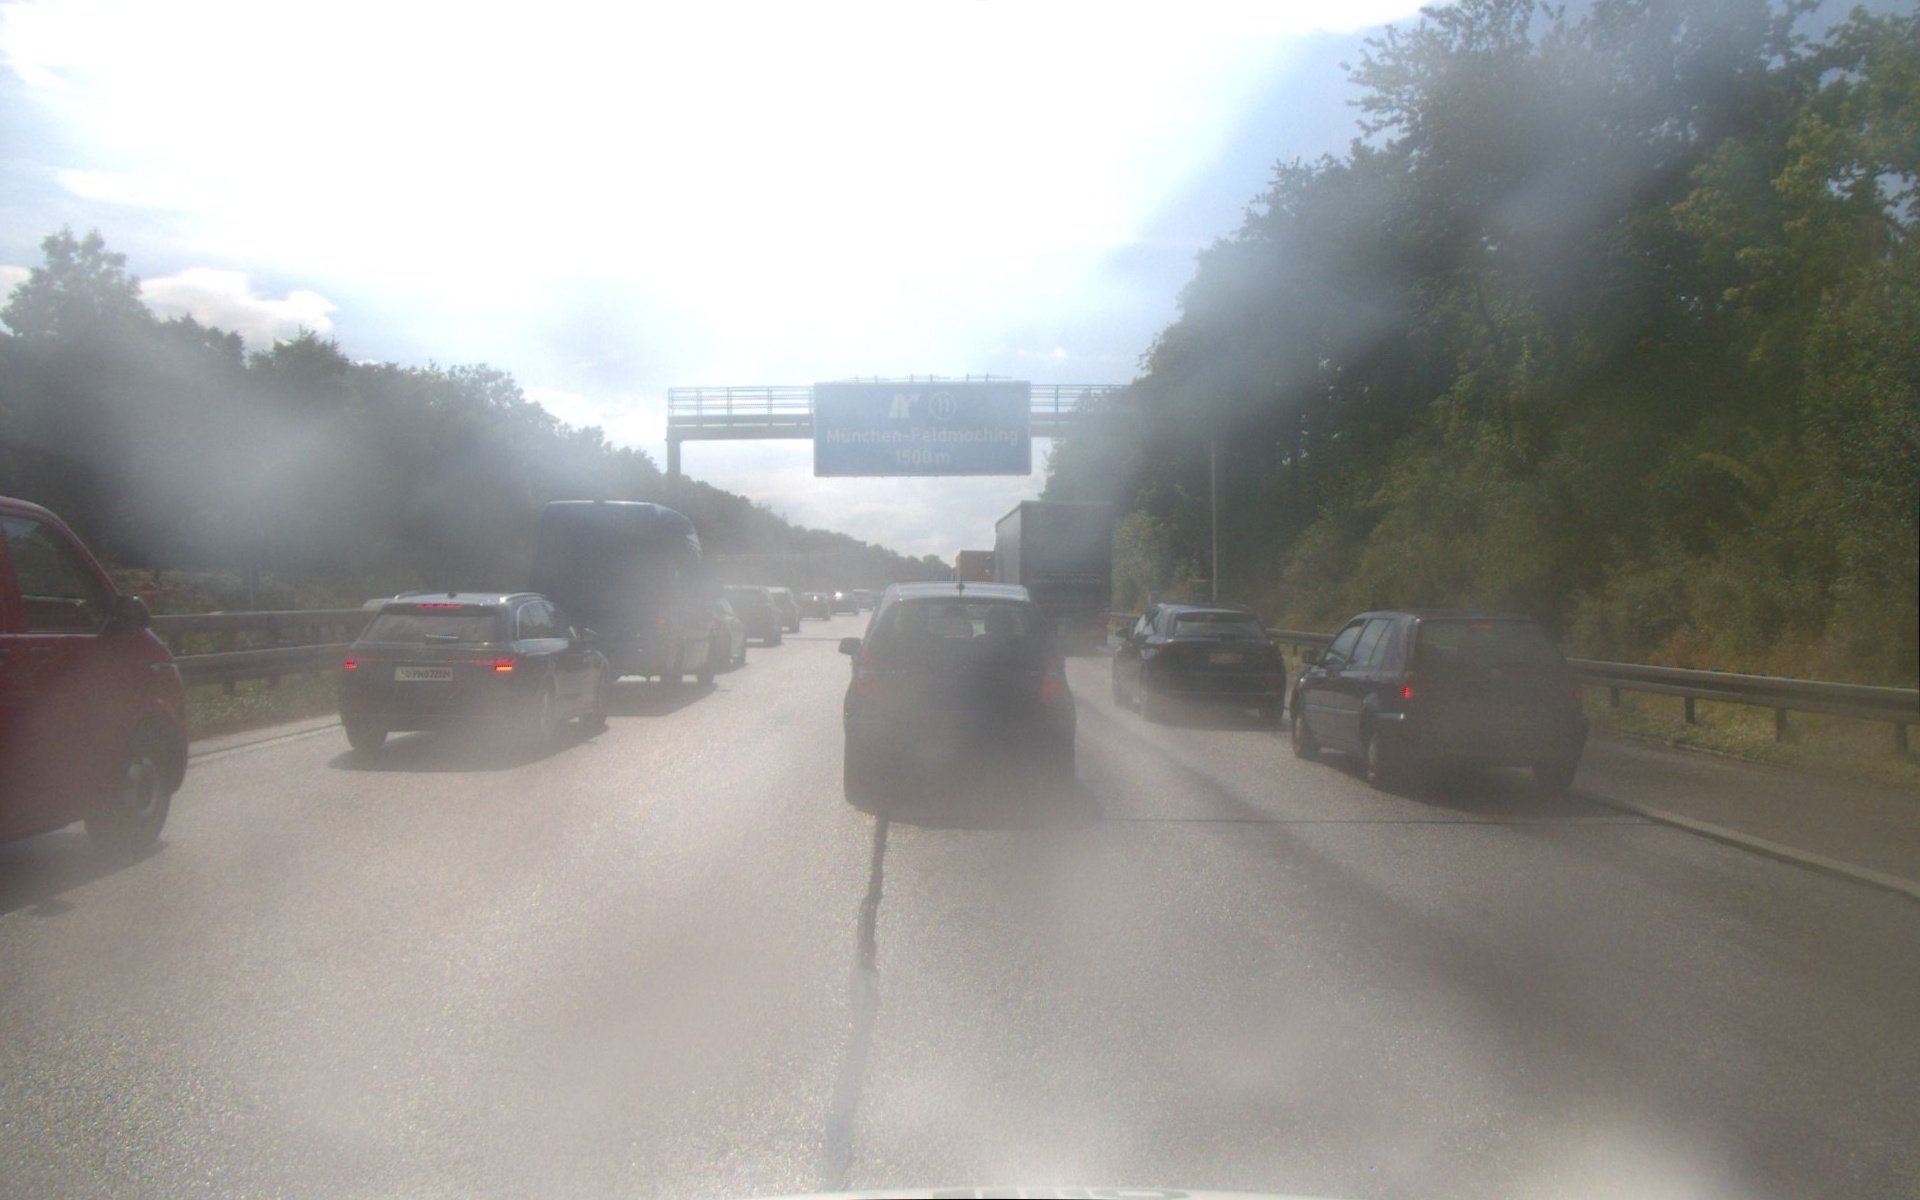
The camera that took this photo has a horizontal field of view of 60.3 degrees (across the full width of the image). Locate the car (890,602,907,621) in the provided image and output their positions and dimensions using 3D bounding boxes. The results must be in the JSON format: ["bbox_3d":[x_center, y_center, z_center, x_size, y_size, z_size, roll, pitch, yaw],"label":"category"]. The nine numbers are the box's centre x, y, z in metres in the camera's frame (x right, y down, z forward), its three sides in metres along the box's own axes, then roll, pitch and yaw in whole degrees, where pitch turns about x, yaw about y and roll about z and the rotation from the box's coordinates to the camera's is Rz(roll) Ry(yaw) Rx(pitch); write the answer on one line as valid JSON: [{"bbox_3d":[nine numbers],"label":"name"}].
[{"bbox_3d":[-7.377,1.397,197.861,1.953,2.152,4.887,1,0,-1],"label":"car"}]

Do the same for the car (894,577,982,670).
[{"bbox_3d":[-0.528,0.486,35.335,1.659,1.836,3.973,1,0,-4],"label":"car"}]

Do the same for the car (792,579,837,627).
[{"bbox_3d":[-7.712,0.170,88.050,1.953,2.427,5.258,1,0,-1],"label":"car"}]

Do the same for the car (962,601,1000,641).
[{"bbox_3d":[1.133,1.166,92.564,1.953,2.152,4.887,1,0,-1],"label":"car"}]

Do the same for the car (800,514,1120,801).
[{"bbox_3d":[-0.123,0.421,14.064,2.229,1.989,4.818,1,0,-3],"label":"car"}]

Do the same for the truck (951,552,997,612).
[{"bbox_3d":[0.852,-1.118,106.432,2.719,3.695,5.915,1,0,-1],"label":"truck"}]

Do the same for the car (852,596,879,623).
[{"bbox_3d":[-7.518,0.753,132.276,1.953,2.152,4.887,1,0,-1],"label":"car"}]

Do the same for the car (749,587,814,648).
[{"bbox_3d":[-6.614,0.631,61.595,1.953,2.152,4.887,1,0,-1],"label":"car"}]

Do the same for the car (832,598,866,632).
[{"bbox_3d":[-7.278,0.964,108.402,1.953,2.152,4.887,1,0,-1],"label":"car"}]

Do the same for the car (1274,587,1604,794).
[{"bbox_3d":[4.006,0.691,14.495,1.559,1.542,3.974,1,0,-3],"label":"car"}]

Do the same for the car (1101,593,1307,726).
[{"bbox_3d":[3.048,0.713,21.450,1.828,1.542,3.973,1,0,-4],"label":"car"}]

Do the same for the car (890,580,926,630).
[{"bbox_3d":[-2.935,0.285,95.010,1.953,2.794,5.258,1,0,-1],"label":"car"}]

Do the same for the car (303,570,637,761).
[{"bbox_3d":[-4.628,0.567,16.434,1.953,1.592,4.755,1,0,-1],"label":"car"}]

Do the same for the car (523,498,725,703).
[{"bbox_3d":[-4.792,0.018,24.397,1.953,2.661,5.258,1,0,-1],"label":"car"}]

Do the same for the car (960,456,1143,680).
[{"bbox_3d":[2.474,-0.822,52.925,4.315,5.932,16.811,1,0,-2],"label":"car"}]

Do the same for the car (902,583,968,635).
[{"bbox_3d":[-0.813,0.272,51.612,1.828,1.542,3.973,1,0,-4],"label":"car"}]

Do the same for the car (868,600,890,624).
[{"bbox_3d":[-7.675,1.120,157.212,1.953,2.152,4.887,1,0,-1],"label":"car"}]

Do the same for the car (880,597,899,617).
[{"bbox_3d":[-7.609,0.777,178.240,1.953,2.152,4.887,1,0,-1],"label":"car"}]

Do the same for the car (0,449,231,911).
[{"bbox_3d":[-5.311,0.356,7.522,1.938,2.090,4.755,0,0,-1],"label":"car"}]

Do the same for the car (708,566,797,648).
[{"bbox_3d":[-5.821,0.203,46.858,1.953,2.152,4.887,1,0,-1],"label":"car"}]
